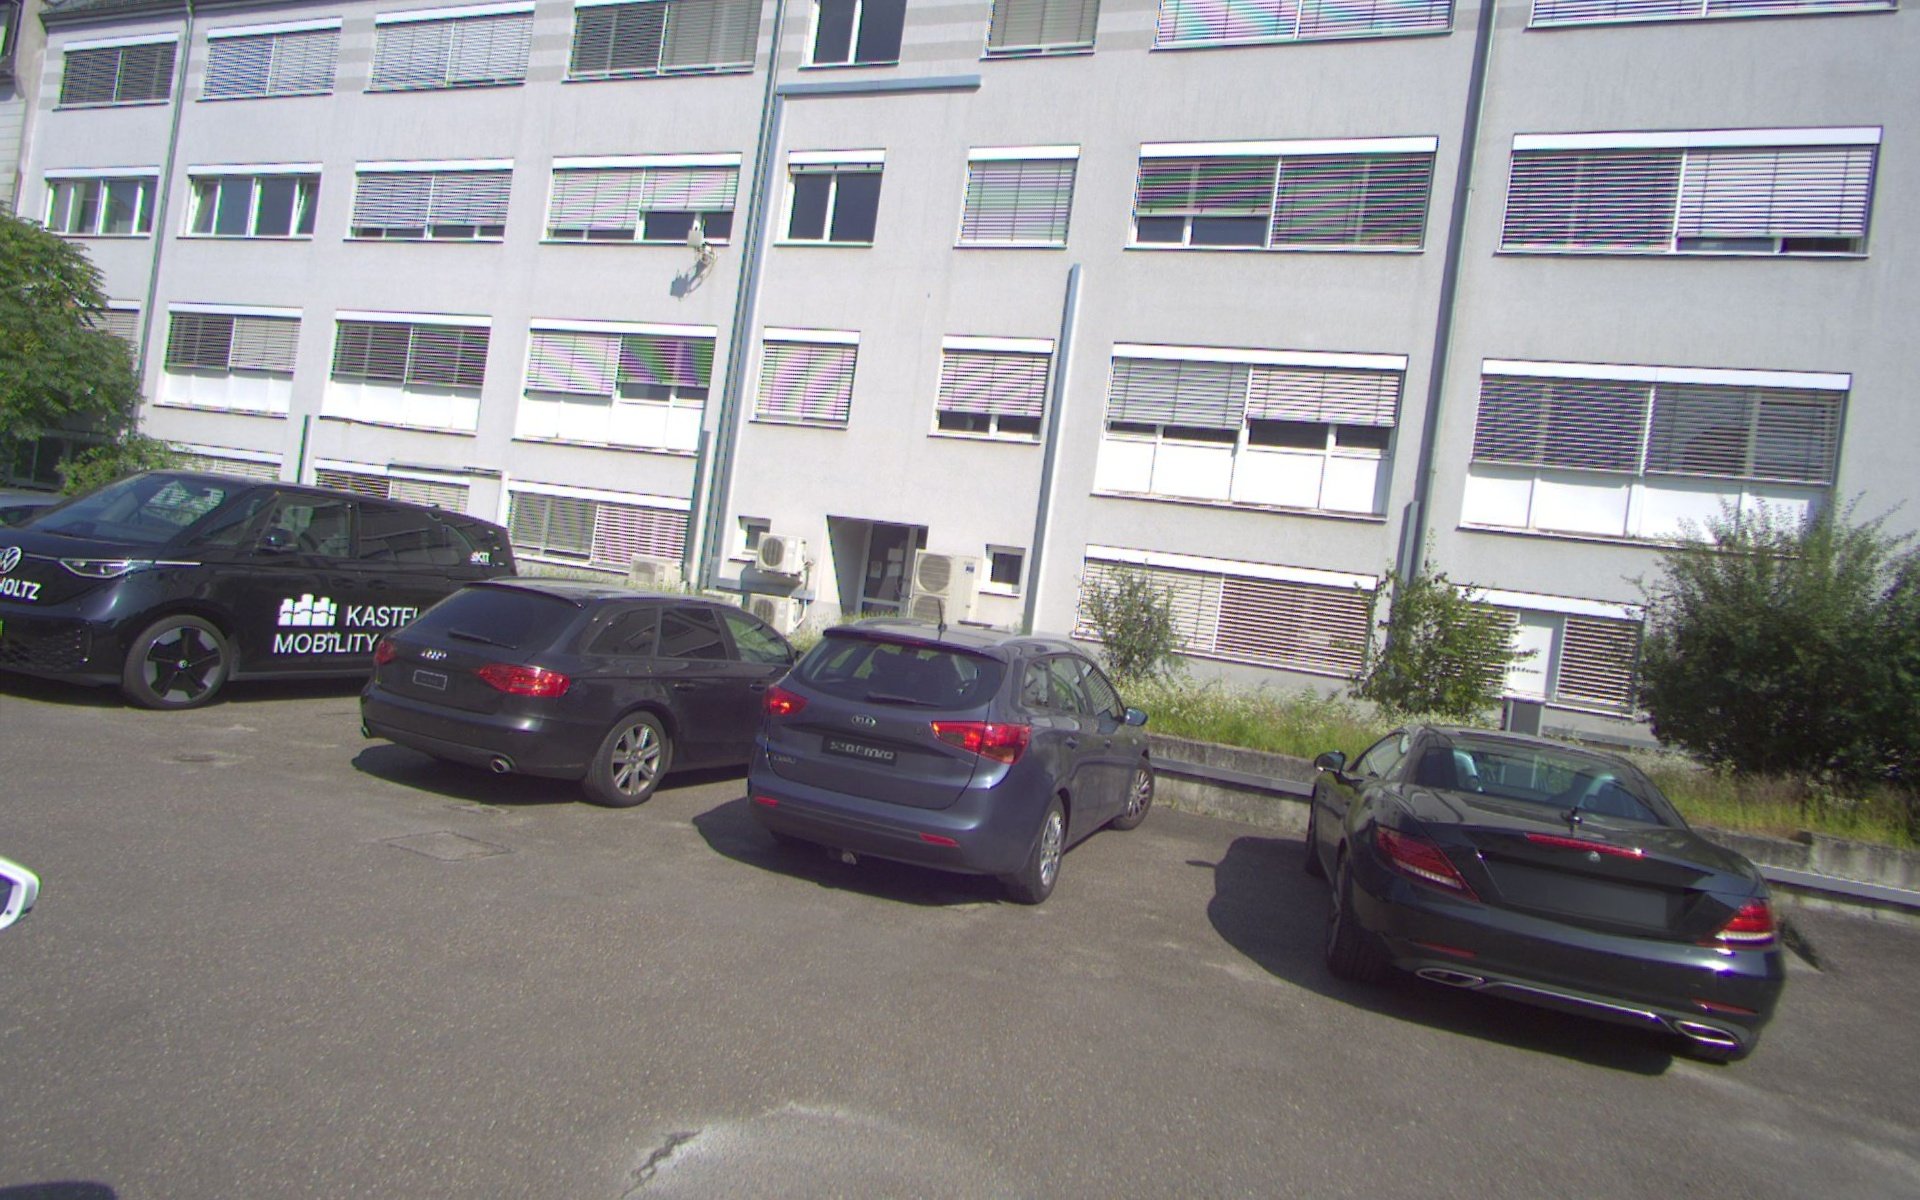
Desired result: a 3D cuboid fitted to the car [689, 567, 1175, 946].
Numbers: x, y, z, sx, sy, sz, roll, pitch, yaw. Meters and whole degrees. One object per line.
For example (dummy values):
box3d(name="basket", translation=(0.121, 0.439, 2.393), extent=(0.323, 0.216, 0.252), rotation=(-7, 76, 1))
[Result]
box3d(name="car", translation=(0.168, 0.878, 6.891), extent=(1.844, 1.607, 3.877), rotation=(7, -2, 21))

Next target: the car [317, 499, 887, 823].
box3d(name="car", translation=(-2.377, 0.480, 7.926), extent=(1.739, 1.711, 4.132), rotation=(7, -2, 23))

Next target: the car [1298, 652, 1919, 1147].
box3d(name="car", translation=(3.140, 1.265, 5.861), extent=(1.861, 1.607, 3.815), rotation=(7, -2, 16))

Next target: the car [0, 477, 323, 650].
box3d(name="car", translation=(-8.957, -0.361, 10.195), extent=(1.741, 1.500, 3.948), rotation=(7, -1, 17))

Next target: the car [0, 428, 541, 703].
box3d(name="car", translation=(-6.264, -0.183, 9.259), extent=(1.847, 1.816, 4.518), rotation=(7, -1, 17))
